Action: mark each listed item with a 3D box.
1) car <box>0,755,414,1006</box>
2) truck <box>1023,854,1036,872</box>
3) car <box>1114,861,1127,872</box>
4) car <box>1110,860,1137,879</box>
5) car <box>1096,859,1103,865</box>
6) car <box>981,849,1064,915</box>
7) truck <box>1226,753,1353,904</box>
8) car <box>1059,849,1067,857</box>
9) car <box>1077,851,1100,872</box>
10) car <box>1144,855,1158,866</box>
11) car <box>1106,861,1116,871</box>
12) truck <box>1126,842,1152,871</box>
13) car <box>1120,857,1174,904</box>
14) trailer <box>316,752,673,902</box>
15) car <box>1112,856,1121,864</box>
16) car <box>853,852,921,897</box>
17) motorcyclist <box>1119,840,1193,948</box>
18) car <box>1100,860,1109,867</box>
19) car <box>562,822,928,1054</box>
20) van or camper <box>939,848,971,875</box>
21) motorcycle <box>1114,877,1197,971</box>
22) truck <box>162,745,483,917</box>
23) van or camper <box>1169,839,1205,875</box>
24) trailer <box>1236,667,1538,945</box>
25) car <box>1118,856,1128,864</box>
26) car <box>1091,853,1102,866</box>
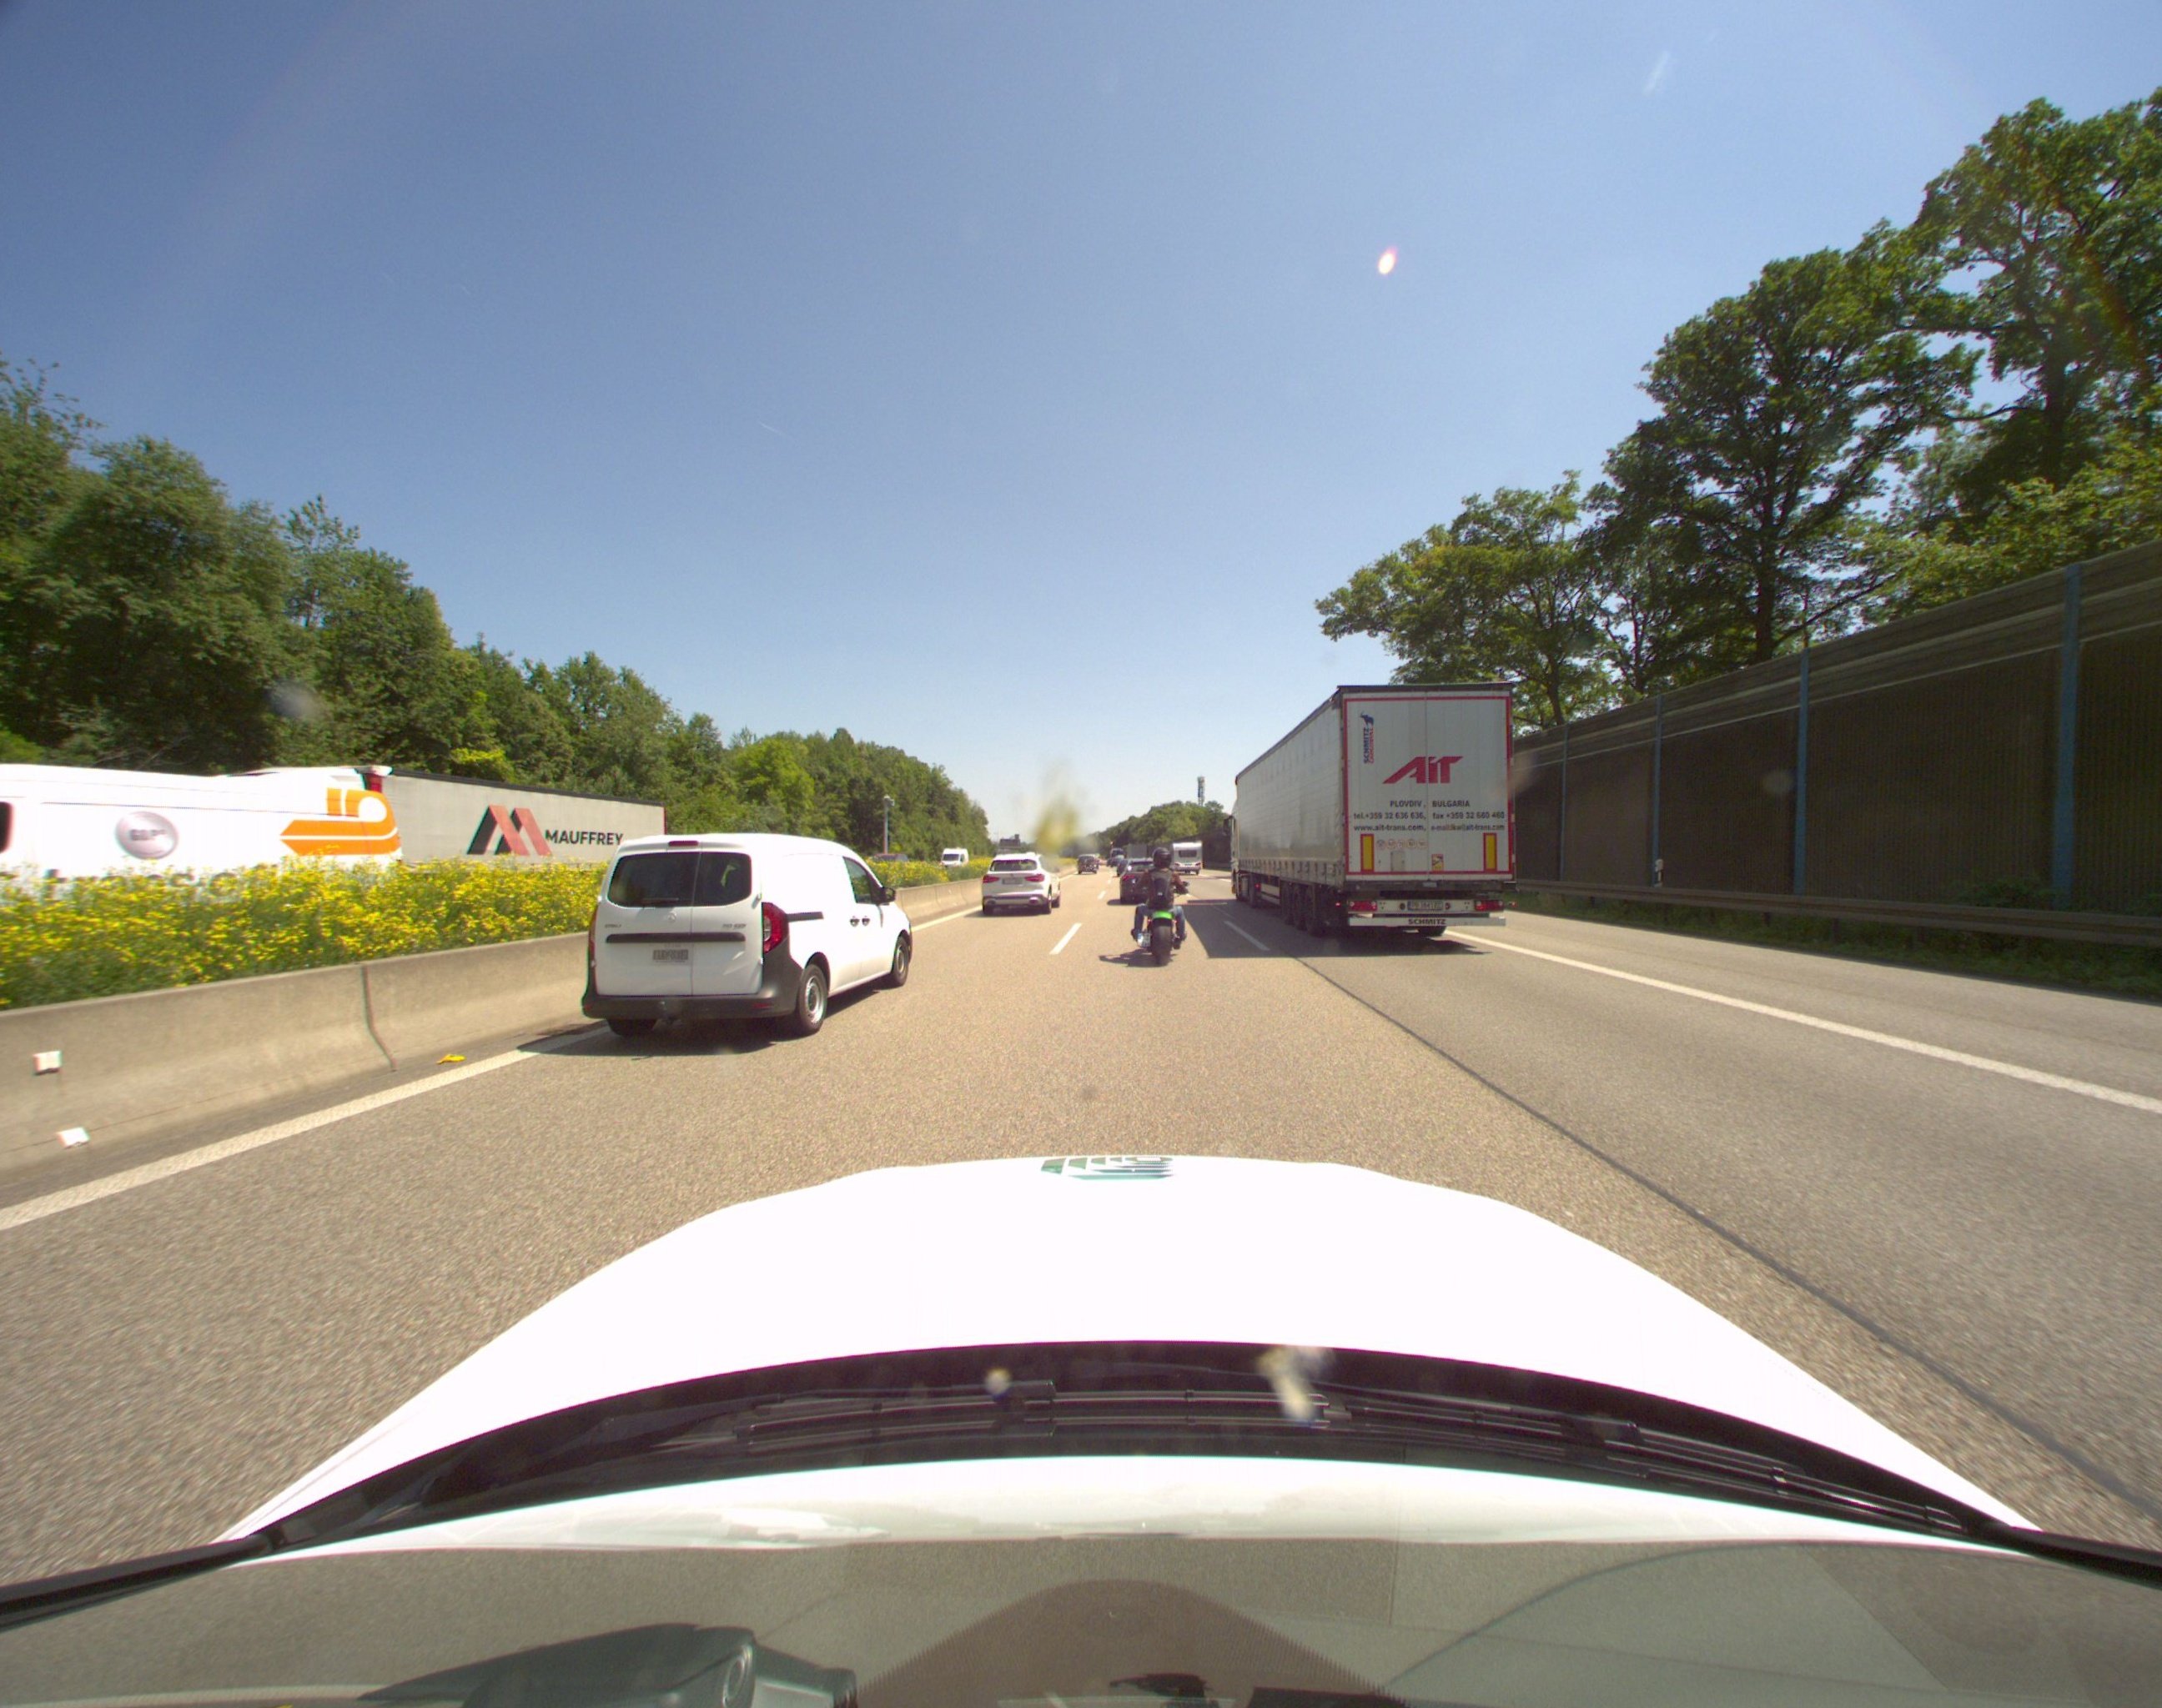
[{"bbox_3d":[-13.406,0.325,11.125,2.059,2.896,7.469,-1,0,4],"label":"car"},{"bbox_3d":[-15.434,2.676,244.496,3.472,5.277,10.008,0,-2,-2],"label":"truck"},{"bbox_3d":[6.496,2.070,133.213,1.985,1.640,4.002,-1,-1,3],"label":"car"},{"bbox_3d":[3.378,1.202,64.044,1.985,1.430,3.850,-1,-1,4],"label":"car"},{"bbox_3d":[5.025,2.108,218.867,1.827,1.496,3.741,-1,-1,-1],"label":"car"},{"bbox_3d":[-1.591,0.758,23.986,1.857,1.694,4.958,-1,-1,2],"label":"car"},{"bbox_3d":[6.330,-0.697,25.663,2.872,4.146,5.994,-1,0,5],"label":"truck"},{"bbox_3d":[-4.721,-0.289,215.002,1.989,2.013,3.996,-1,0,-2],"label":"car"},{"bbox_3d":[0.762,0.758,77.523,1.891,1.874,4.416,-1,-1,3],"label":"car"},{"bbox_3d":[10.707,1.025,125.051,1.986,1.574,4.001,-1,-1,2],"label":"car"},{"bbox_3d":[6.036,2.401,163.300,1.905,2.014,3.690,-1,-1,0],"label":"car"},{"bbox_3d":[10.224,0.493,144.299,3.791,4.960,8.947,-1,-1,0],"label":"truck"},{"bbox_3d":[2.228,0.864,27.441,1.654,1.453,3.873,-1,-1,5],"label":"car"},{"bbox_3d":[-20.011,-0.631,29.768,2.914,4.232,13.074,-1,-1,3],"label":"trailer"},{"bbox_3d":[8.762,1.426,199.569,2.099,1.876,4.002,-1,-1,2],"label":"car"},{"bbox_3d":[-9.067,0.969,38.427,1.985,2.014,4.004,-1,-1,4],"label":"car"},{"bbox_3d":[1.161,0.573,12.140,0.894,1.475,1.877,-1,-2,11],"label":"motorcyclist"},{"bbox_3d":[5.408,2.183,186.466,1.827,1.496,3.741,-1,-1,-1],"label":"car"},{"bbox_3d":[-3.110,0.686,8.791,1.757,1.813,4.678,-1,-1,3],"label":"car"},{"bbox_3d":[-12.997,0.749,84.494,2.076,2.701,6.156,-1,0,3],"label":"van or camper"},{"bbox_3d":[1.168,0.950,12.052,0.958,1.148,2.820,-1,0,11],"label":"motorcycle"},{"bbox_3d":[-20.472,-0.483,22.626,2.951,4.107,6.093,-1,-1,3],"label":"truck"},{"bbox_3d":[8.731,0.331,67.716,2.672,2.813,6.811,-1,-1,5],"label":"van or camper"},{"bbox_3d":[5.804,-0.657,18.881,2.872,4.038,13.813,-1,0,5],"label":"trailer"},{"bbox_3d":[9.958,1.409,194.196,2.101,1.876,3.999,-1,-1,0],"label":"car"},{"bbox_3d":[2.476,0.961,131.617,1.785,2.014,3.643,-1,-1,1],"label":"car"}]
